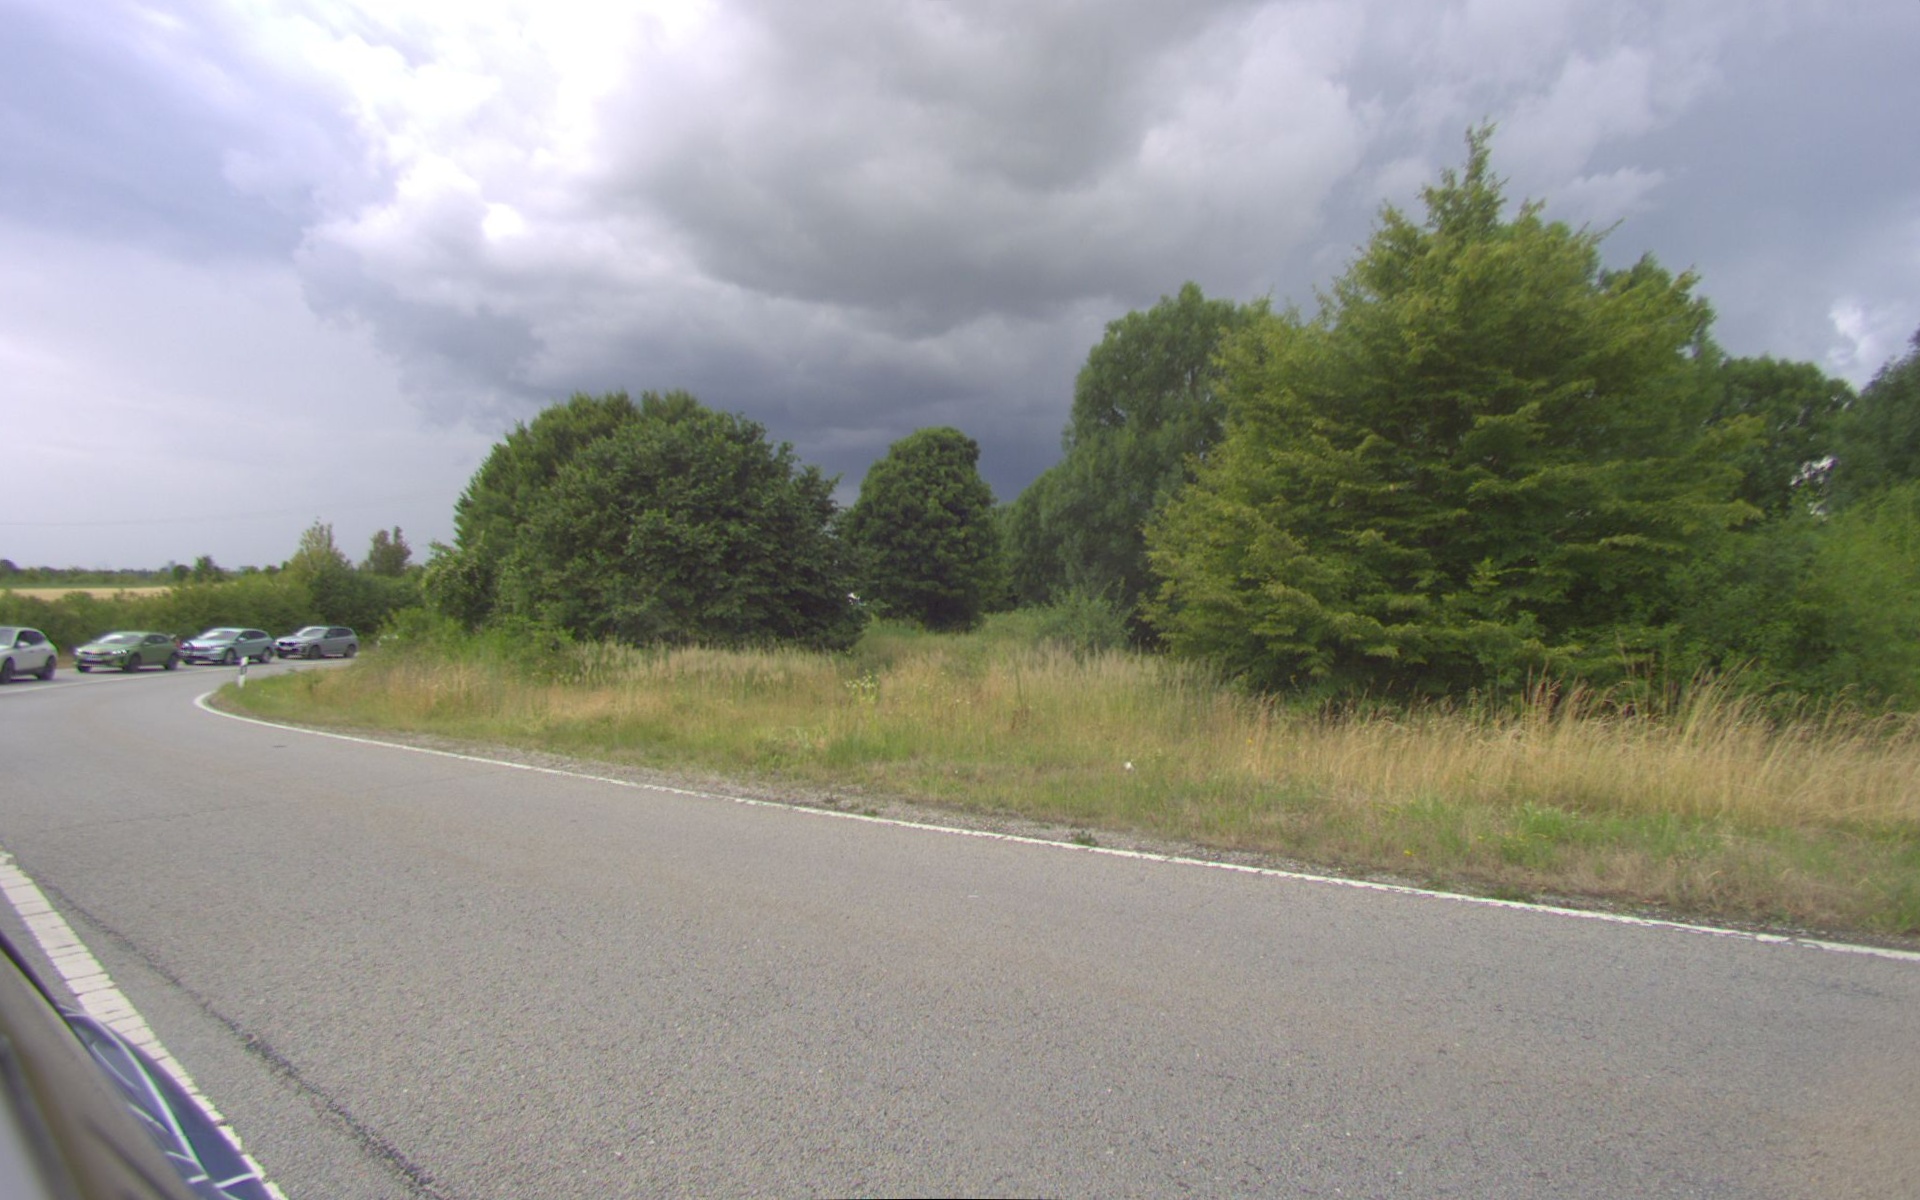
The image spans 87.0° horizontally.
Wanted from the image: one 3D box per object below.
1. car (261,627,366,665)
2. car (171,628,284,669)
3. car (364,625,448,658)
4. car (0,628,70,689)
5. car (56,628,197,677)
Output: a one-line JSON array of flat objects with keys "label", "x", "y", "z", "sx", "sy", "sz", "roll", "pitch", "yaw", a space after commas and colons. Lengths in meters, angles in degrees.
[{"label": "car", "x": -34.060, "y": 2.374, "z": 53.511, "sx": 1.974, "sy": 1.732, "sz": 5.202, "roll": 2, "pitch": 0, "yaw": 4}, {"label": "car", "x": -33.513, "y": 2.195, "z": 46.510, "sx": 1.968, "sy": 1.733, "sz": 5.217, "roll": 2, "pitch": -2, "yaw": -8}, {"label": "car", "x": -33.517, "y": 2.455, "z": 61.462, "sx": 1.974, "sy": 1.732, "sz": 5.202, "roll": 2, "pitch": 0, "yaw": 4}, {"label": "car", "x": -29.777, "y": 1.748, "z": 31.223, "sx": 1.965, "sy": 1.733, "sz": 5.225, "roll": 2, "pitch": -3, "yaw": -24}, {"label": "car", "x": -32.215, "y": 2.012, "z": 39.328, "sx": 1.967, "sy": 1.733, "sz": 5.220, "roll": 2, "pitch": -2, "yaw": -12}]
